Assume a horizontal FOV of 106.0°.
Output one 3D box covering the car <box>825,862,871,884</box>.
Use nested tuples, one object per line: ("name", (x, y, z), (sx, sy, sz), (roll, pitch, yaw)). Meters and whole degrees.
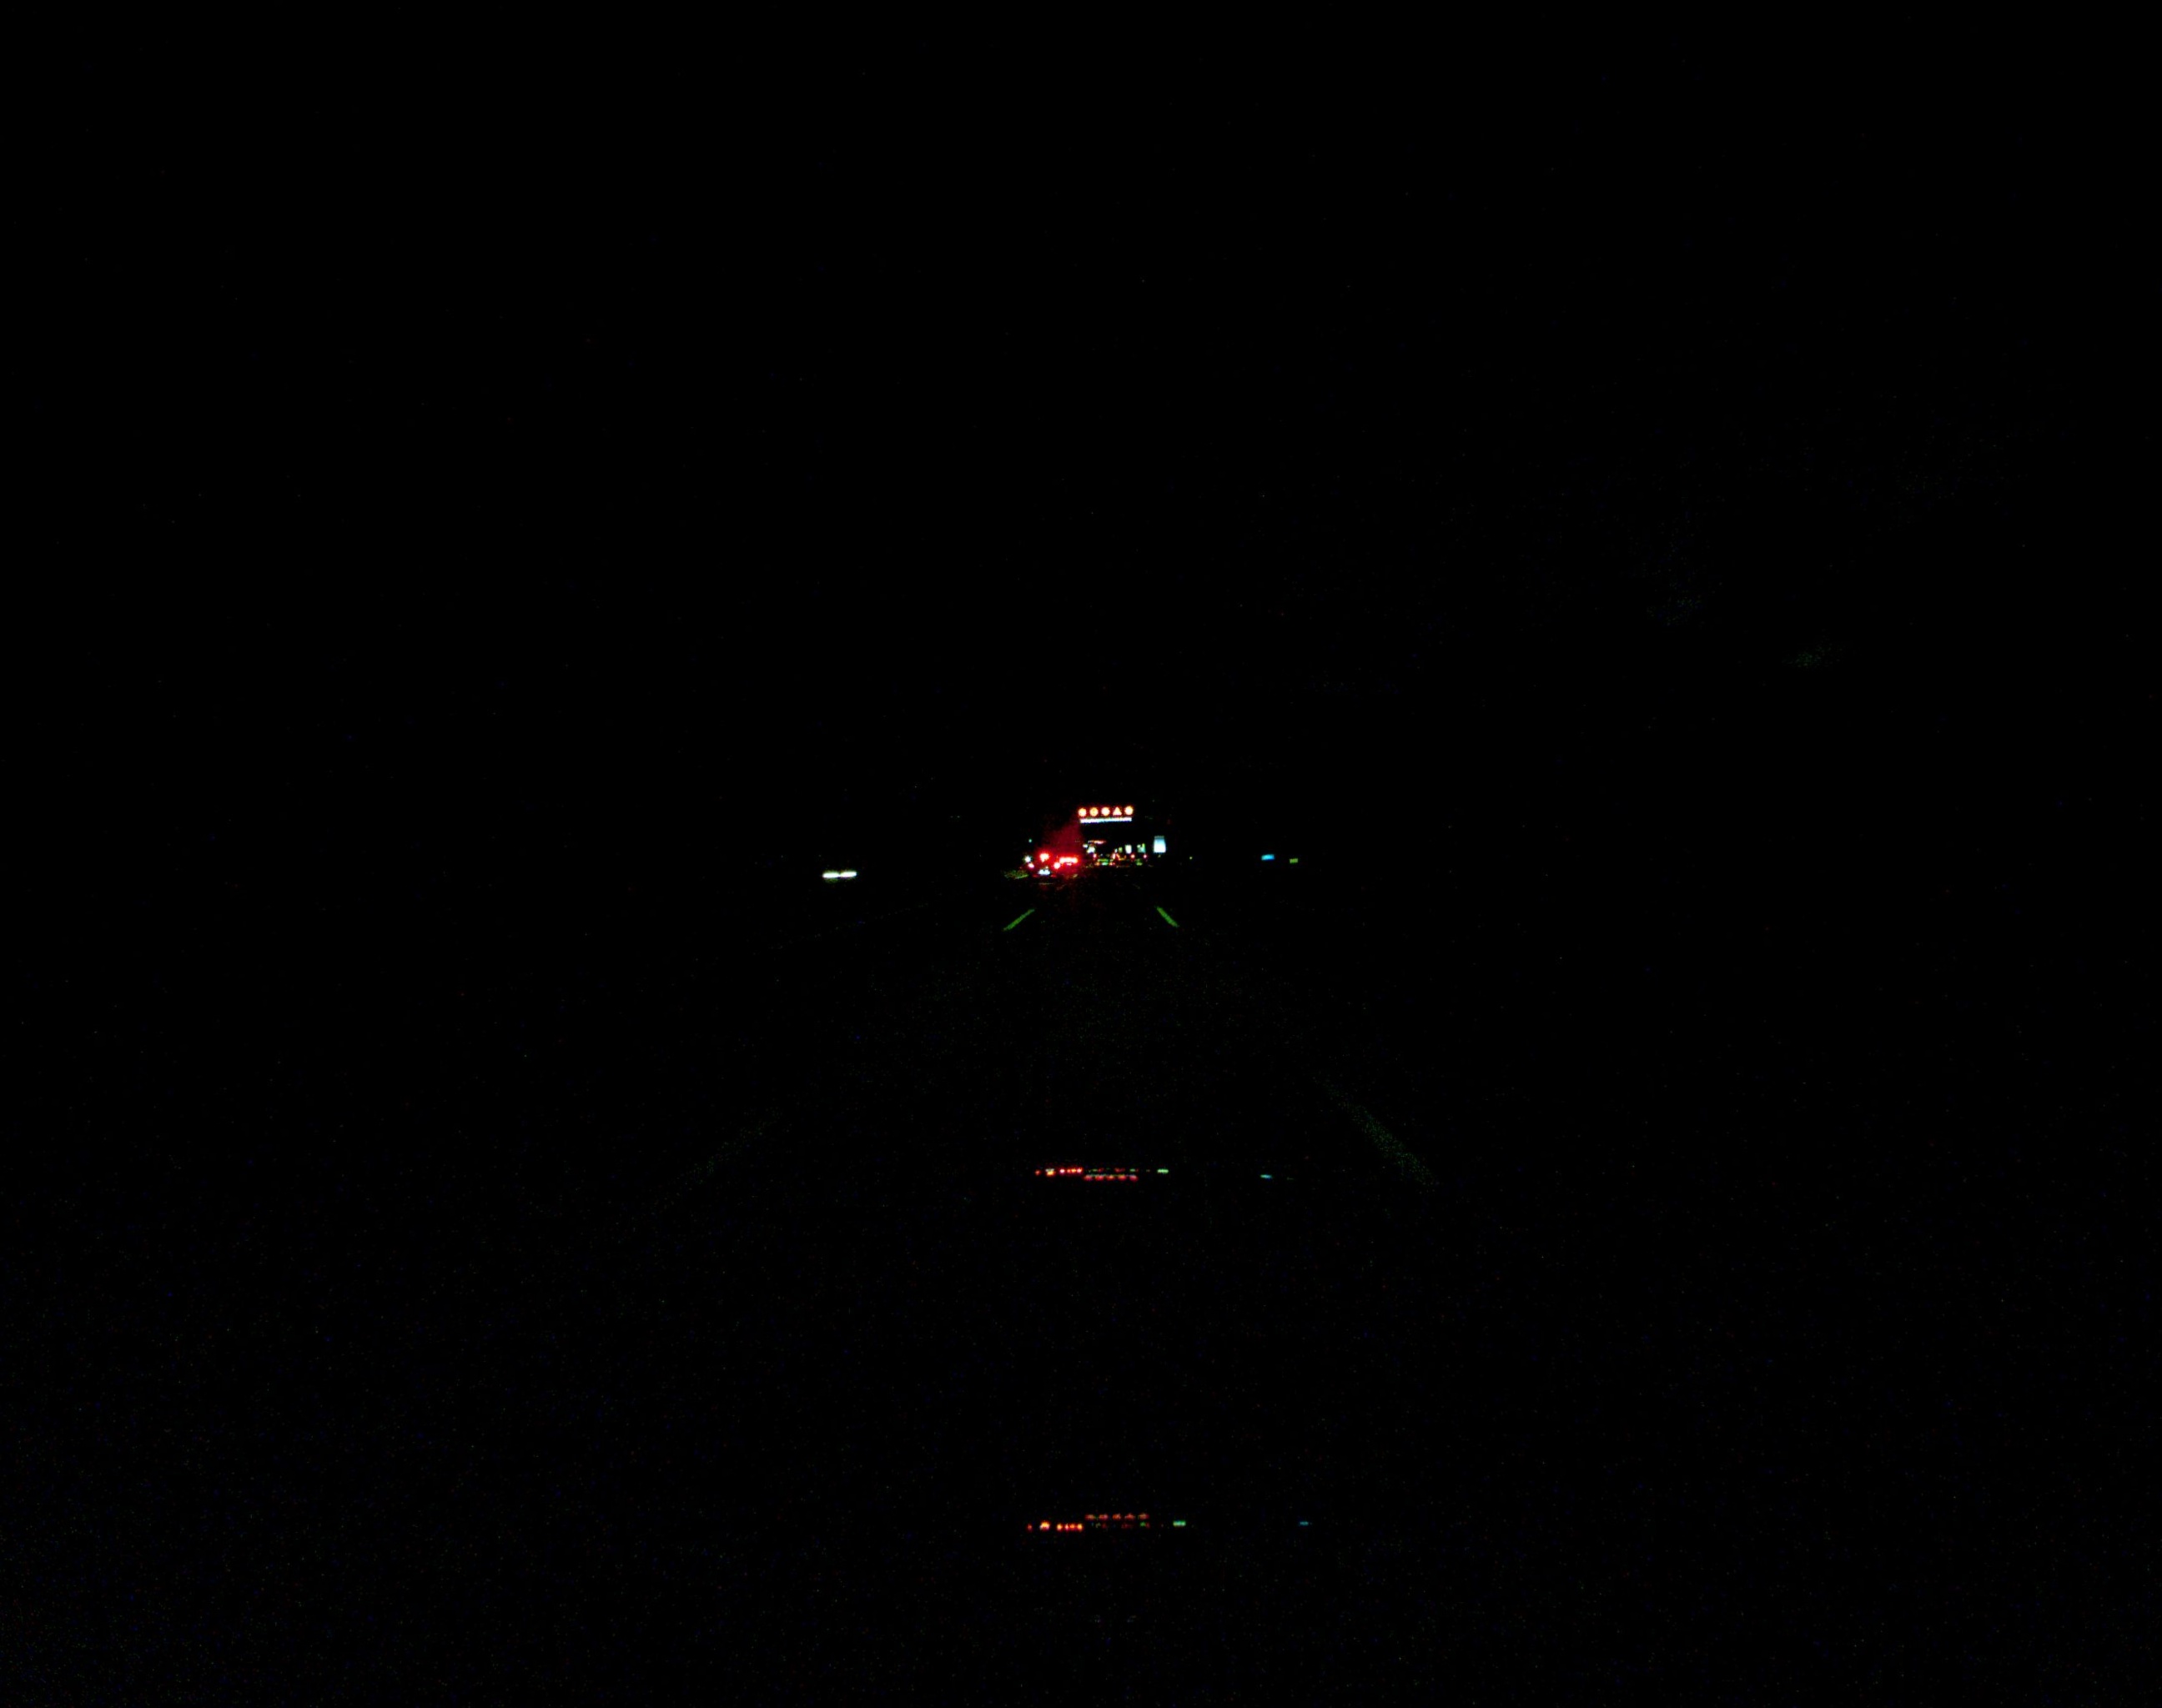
("car", (-17.930, 1.459, 62.866), (1.896, 1.634, 5.048), (1, -1, 2))

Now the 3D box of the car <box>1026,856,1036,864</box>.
("car", (-10.970, 1.271, 179.571), (1.897, 1.617, 4.403), (-2, 0, 0))

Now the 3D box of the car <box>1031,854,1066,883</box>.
("car", (-1.710, 0.746, 43.623), (1.789, 1.469, 3.770), (0, 0, -2))

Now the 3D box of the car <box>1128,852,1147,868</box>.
("car", (5.815, 0.629, 83.931), (1.640, 1.597, 4.510), (-1, 0, 1))

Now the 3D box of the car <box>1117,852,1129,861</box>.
("car", (7.957, 0.511, 155.588), (2.155, 1.563, 4.725), (-1, 0, 2))

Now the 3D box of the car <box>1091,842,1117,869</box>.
("car", (2.288, 0.128, 79.495), (2.342, 2.535, 5.703), (-2, 0, 2))

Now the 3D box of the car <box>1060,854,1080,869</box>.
("car", (-1.108, 0.728, 83.252), (1.738, 1.440, 4.369), (-2, 0, 2))
